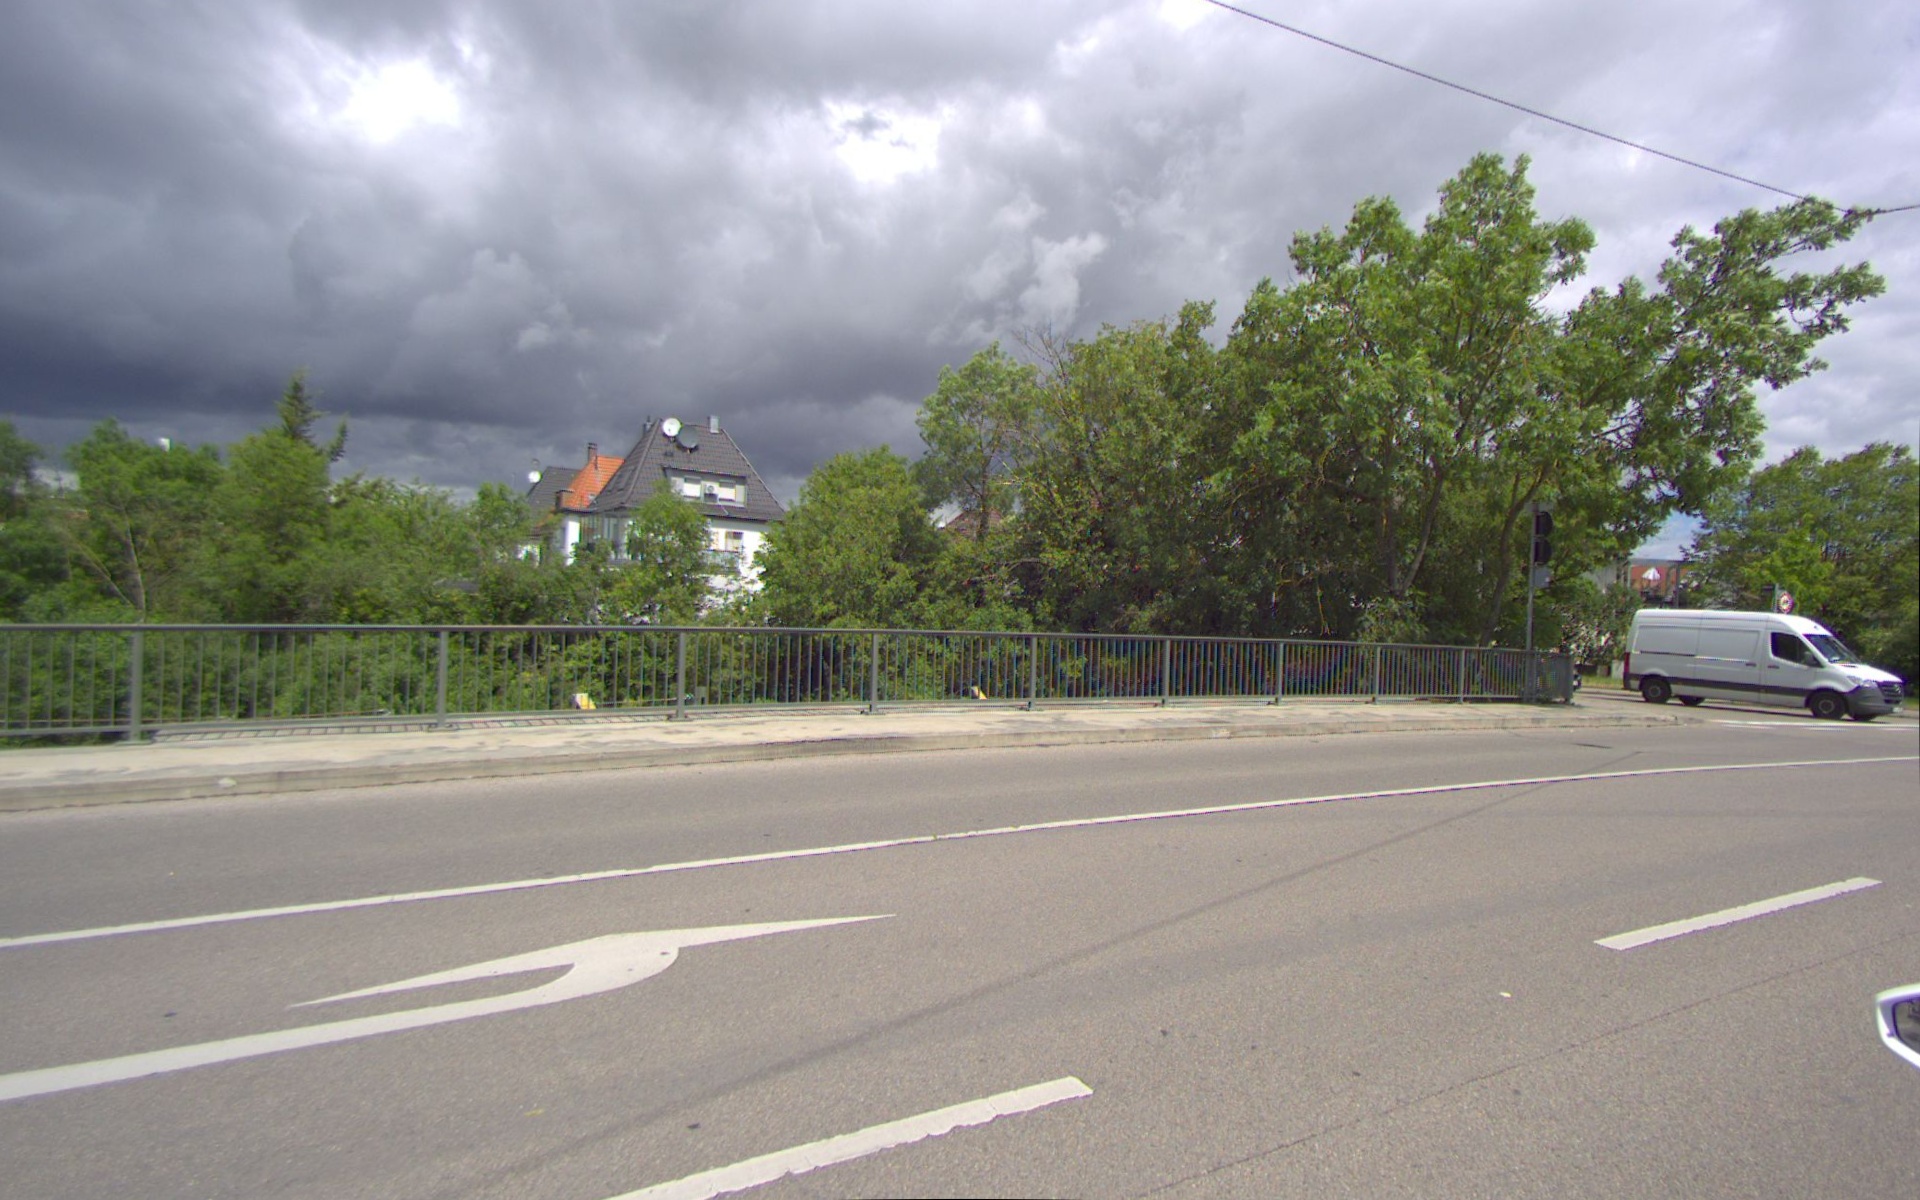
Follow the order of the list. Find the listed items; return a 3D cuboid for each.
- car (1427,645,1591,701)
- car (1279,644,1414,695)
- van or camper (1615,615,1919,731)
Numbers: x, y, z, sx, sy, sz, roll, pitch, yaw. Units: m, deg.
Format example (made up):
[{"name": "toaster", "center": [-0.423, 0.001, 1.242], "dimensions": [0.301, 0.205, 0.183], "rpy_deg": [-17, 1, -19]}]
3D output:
[{"name": "car", "center": [17.451, 2.294, 32.122], "dimensions": [1.975, 1.493, 4.199], "rpy_deg": [4, -2, -28]}, {"name": "car", "center": [14.361, 2.573, 37.540], "dimensions": [1.979, 1.608, 4.362], "rpy_deg": [4, -2, -32]}, {"name": "van or camper", "center": [21.006, 1.802, 26.511], "dimensions": [2.167, 2.600, 5.887], "rpy_deg": [5, -3, -27]}]
